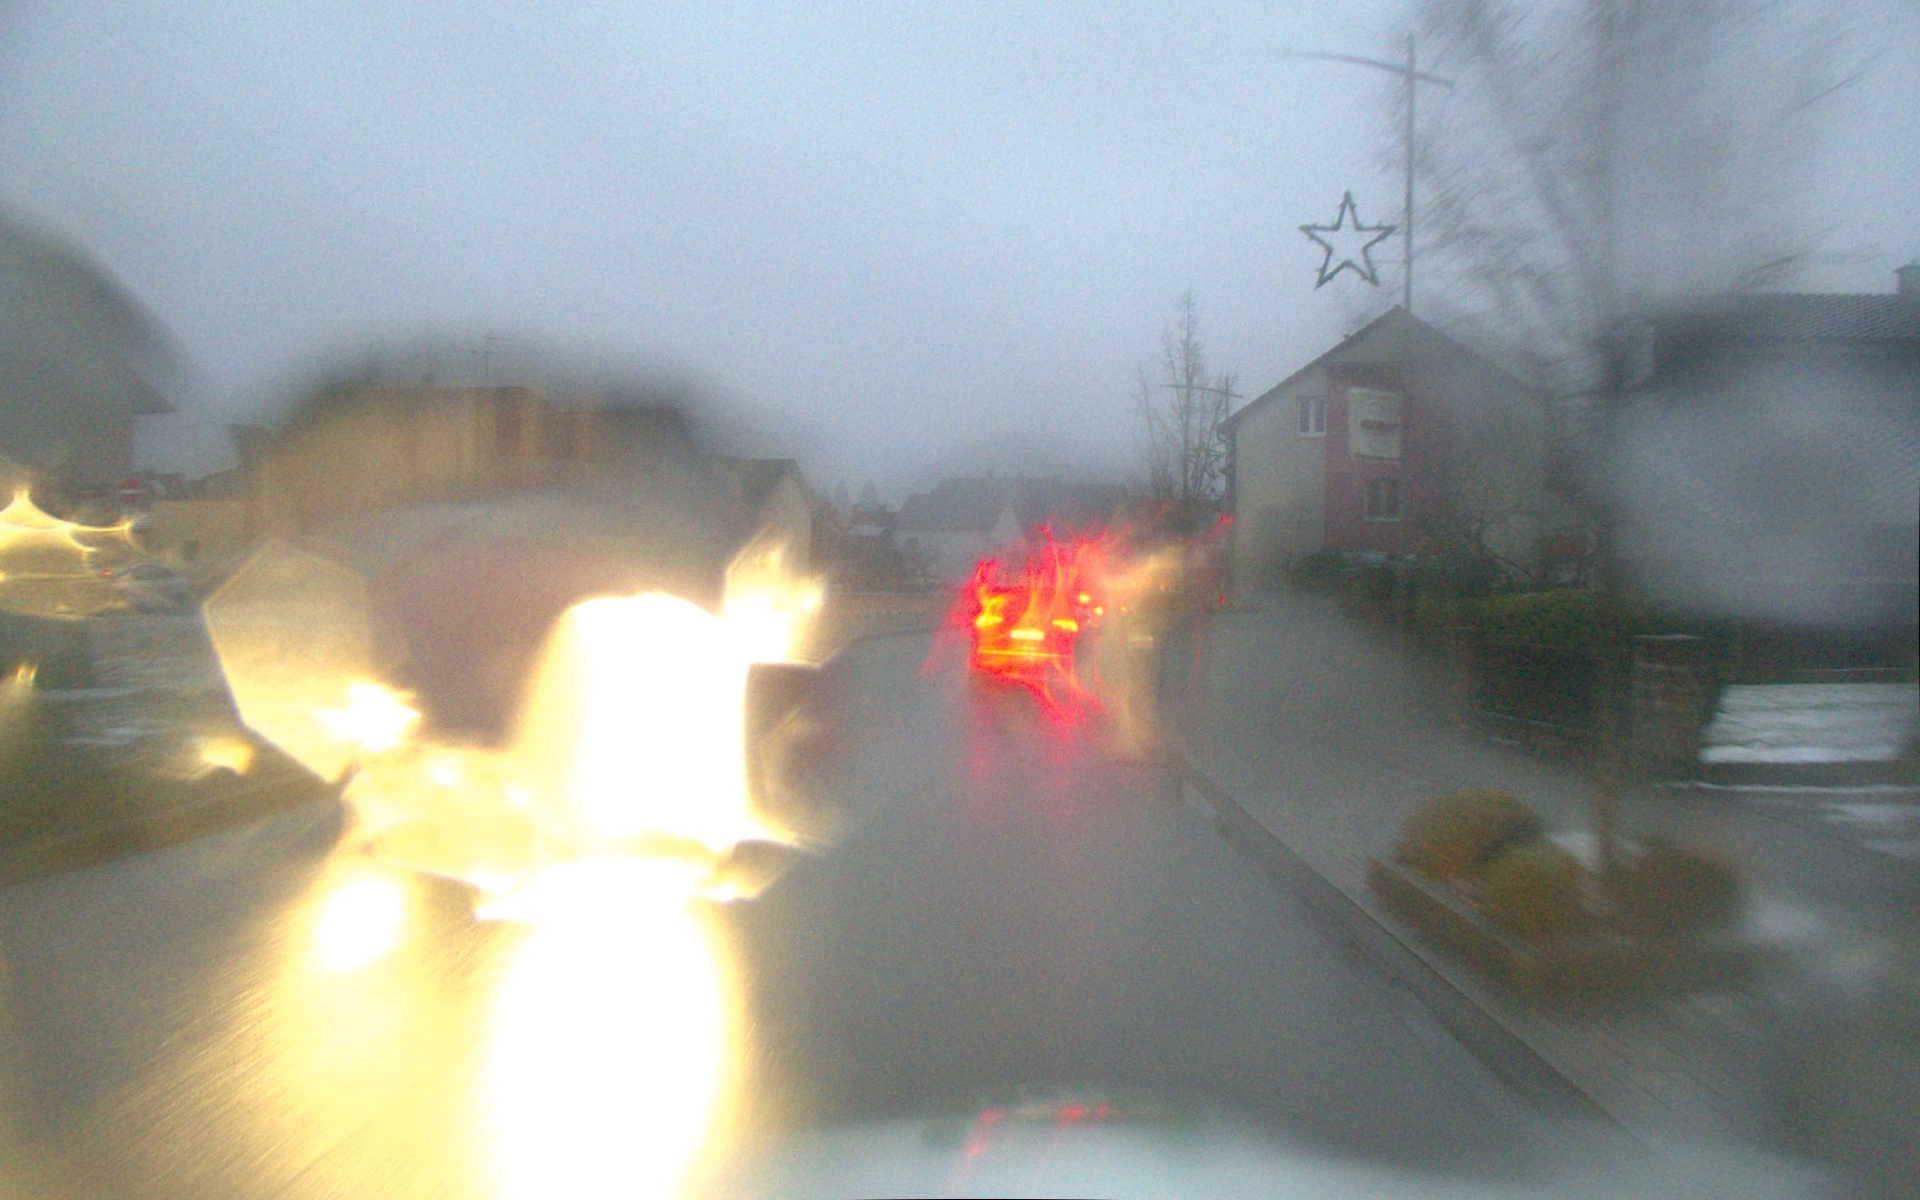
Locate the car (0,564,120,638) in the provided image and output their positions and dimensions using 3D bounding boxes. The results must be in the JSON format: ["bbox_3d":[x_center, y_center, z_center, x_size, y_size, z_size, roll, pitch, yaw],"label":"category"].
[{"bbox_3d":[-19.828,-0.004,34.995,1.359,1.462,4.340,3,1,8],"label":"car"}]

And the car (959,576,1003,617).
[{"bbox_3d":[1.142,-0.160,88.359,1.951,2.049,4.002,2,-1,5],"label":"car"}]

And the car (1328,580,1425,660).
[{"bbox_3d":[9.183,0.399,36.680,1.927,1.610,4.339,1,1,13],"label":"car"}]

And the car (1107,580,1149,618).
[{"bbox_3d":[9.905,-0.044,97.317,1.951,2.049,4.003,2,-1,12],"label":"car"}]

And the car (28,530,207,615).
[{"bbox_3d":[-22.101,-0.698,43.582,1.951,2.048,4.226,3,1,10],"label":"car"}]

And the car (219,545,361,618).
[{"bbox_3d":[-20.457,-0.535,50.684,1.951,2.048,4.003,4,0,13],"label":"car"}]

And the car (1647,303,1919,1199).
[{"bbox_3d":[3.033,0.411,1.920,1.937,2.049,5.743,0,1,-2],"label":"car"}]

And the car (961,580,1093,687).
[{"bbox_3d":[1.094,0.518,27.219,1.952,1.552,4.001,2,0,2],"label":"car"}]

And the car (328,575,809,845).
[{"bbox_3d":[-2.473,0.614,11.775,1.866,1.514,4.571,1,0,7],"label":"car"}]

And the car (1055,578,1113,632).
[{"bbox_3d":[5.088,0.231,67.306,1.951,2.049,4.003,2,-1,9],"label":"car"}]

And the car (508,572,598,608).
[{"bbox_3d":[-16.959,-0.415,69.114,1.951,1.330,4.116,4,0,13],"label":"car"}]

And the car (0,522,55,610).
[{"bbox_3d":[-23.358,-0.845,38.474,1.877,2.048,4.003,3,1,10],"label":"car"}]

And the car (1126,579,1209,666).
[{"bbox_3d":[4.563,0.444,36.647,1.708,1.816,4.339,0,1,6],"label":"car"}]

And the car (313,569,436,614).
[{"bbox_3d":[-19.743,-0.274,55.969,1.951,1.330,4.116,4,0,13],"label":"car"}]
